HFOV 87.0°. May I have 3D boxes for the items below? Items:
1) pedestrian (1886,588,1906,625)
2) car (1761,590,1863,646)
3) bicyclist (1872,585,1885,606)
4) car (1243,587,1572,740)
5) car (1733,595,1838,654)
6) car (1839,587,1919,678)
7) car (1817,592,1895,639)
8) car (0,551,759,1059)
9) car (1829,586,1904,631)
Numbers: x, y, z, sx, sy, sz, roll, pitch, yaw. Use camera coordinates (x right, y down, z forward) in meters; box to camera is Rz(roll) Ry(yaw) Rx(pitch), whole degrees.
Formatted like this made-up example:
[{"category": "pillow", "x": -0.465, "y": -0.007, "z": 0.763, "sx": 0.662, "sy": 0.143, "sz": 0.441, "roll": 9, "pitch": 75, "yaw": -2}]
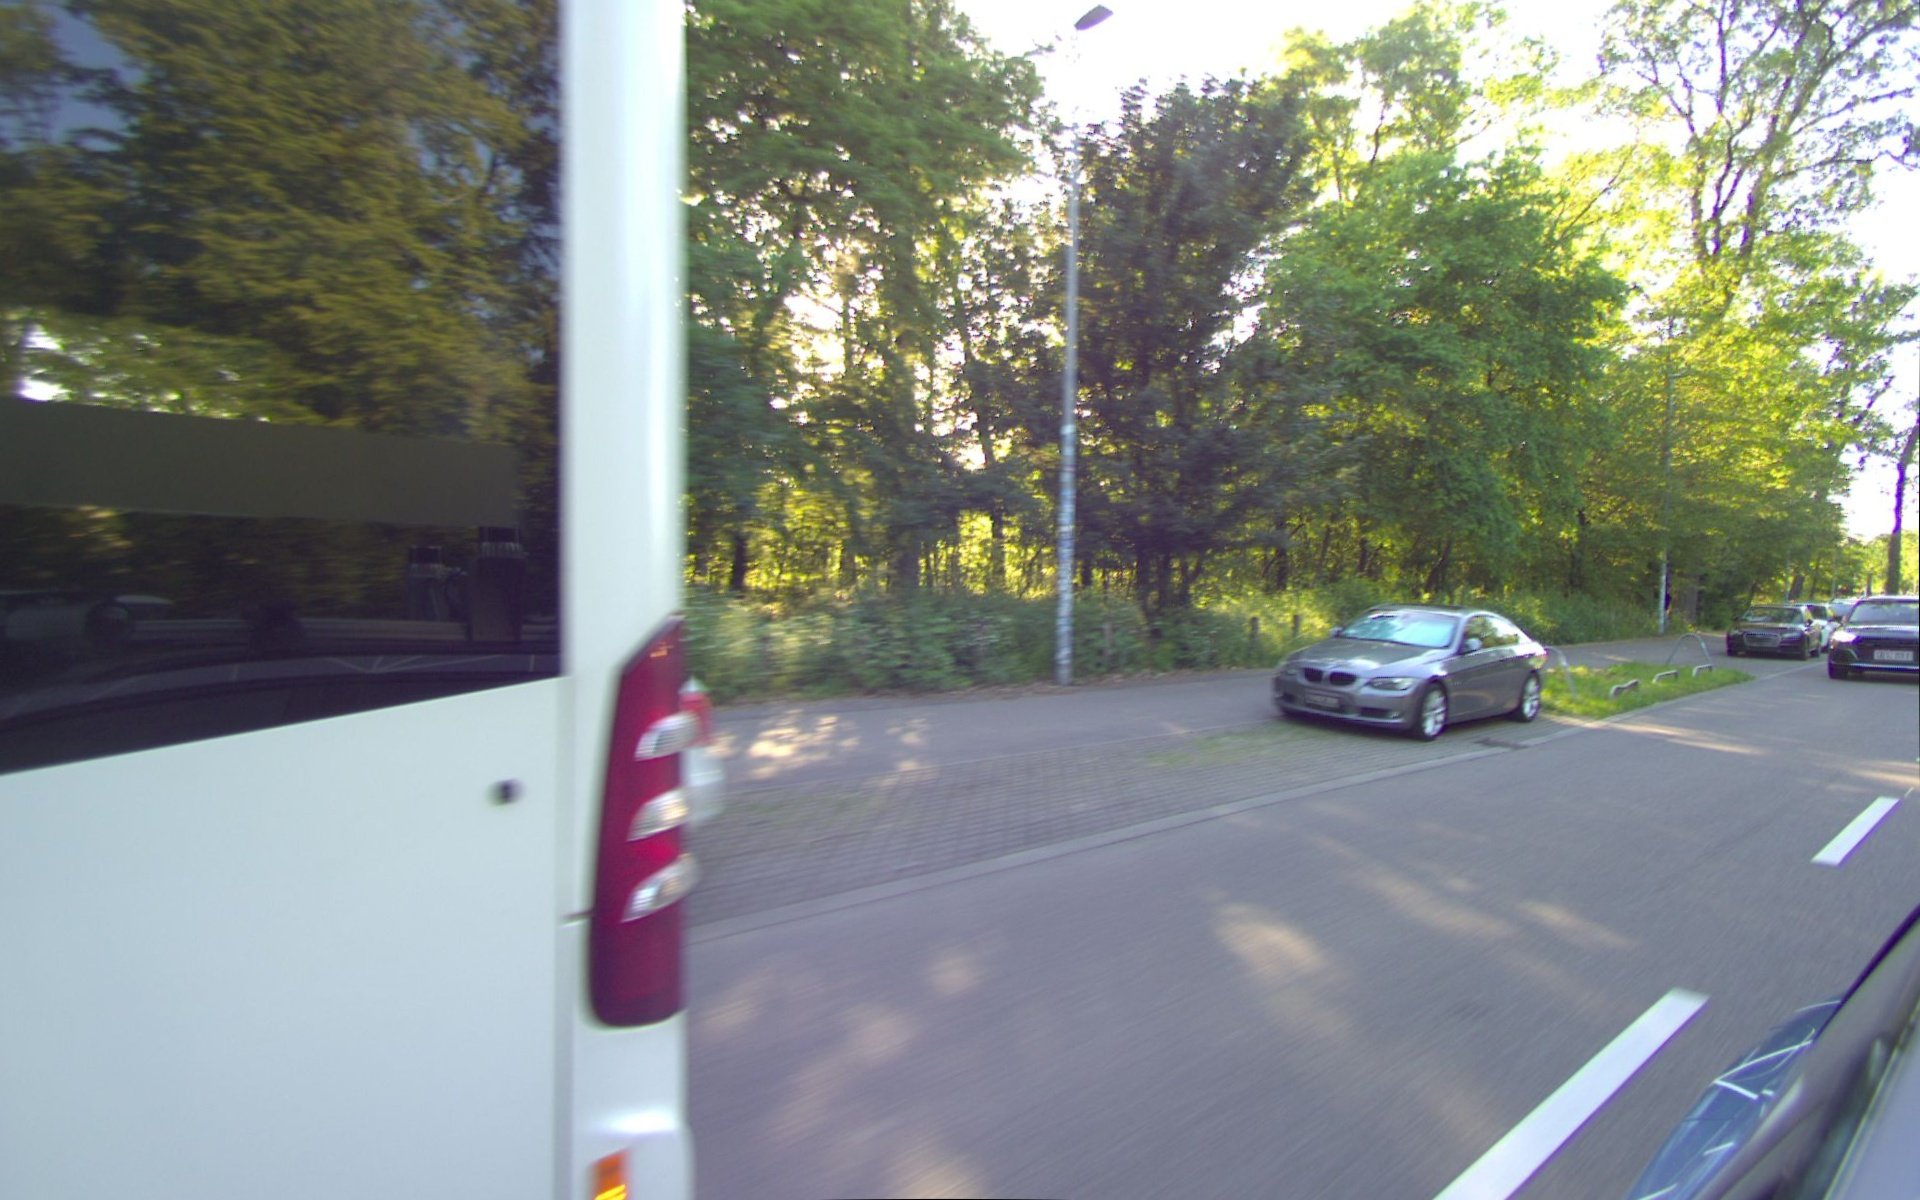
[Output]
[{"category": "pedestrian", "x": 45.637, "y": 0.324, "z": 49.339, "sx": 0.509, "sy": 1.778, "sz": 0.727, "roll": 3, "pitch": 2, "yaw": 33}, {"category": "car", "x": 26.263, "y": 0.500, "z": 31.151, "sx": 4.211, "sy": 1.474, "sz": 1.856, "roll": 0, "pitch": 4, "yaw": -43}, {"category": "bicyclist", "x": 74.063, "y": -0.371, "z": 81.598, "sx": 0.862, "sy": 1.580, "sz": 0.702, "roll": -1, "pitch": 4, "yaw": -44}, {"category": "car", "x": 5.495, "y": 0.614, "z": 12.161, "sx": 4.443, "sy": 1.408, "sz": 1.857, "roll": 0, "pitch": 4, "yaw": -41}, {"category": "car", "x": 22.246, "y": 0.609, "z": 27.221, "sx": 3.881, "sy": 1.409, "sz": 1.737, "roll": 0, "pitch": 2, "yaw": -44}, {"category": "car", "x": 18.872, "y": 0.584, "z": 20.000, "sx": 3.933, "sy": 1.638, "sz": 1.859, "roll": 0, "pitch": 2, "yaw": -43}, {"category": "car", "x": 33.043, "y": 0.524, "z": 37.289, "sx": 1.854, "sy": 1.474, "sz": 4.392, "roll": 5, "pitch": 4, "yaw": 44}, {"category": "car", "x": -3.090, "y": 0.611, "z": 4.171, "sx": 4.097, "sy": 1.529, "sz": 1.732, "roll": 0, "pitch": 4, "yaw": -41}, {"category": "car", "x": 36.553, "y": 0.305, "z": 40.783, "sx": 4.645, "sy": 1.604, "sz": 1.855, "roll": 0, "pitch": 4, "yaw": -44}]
